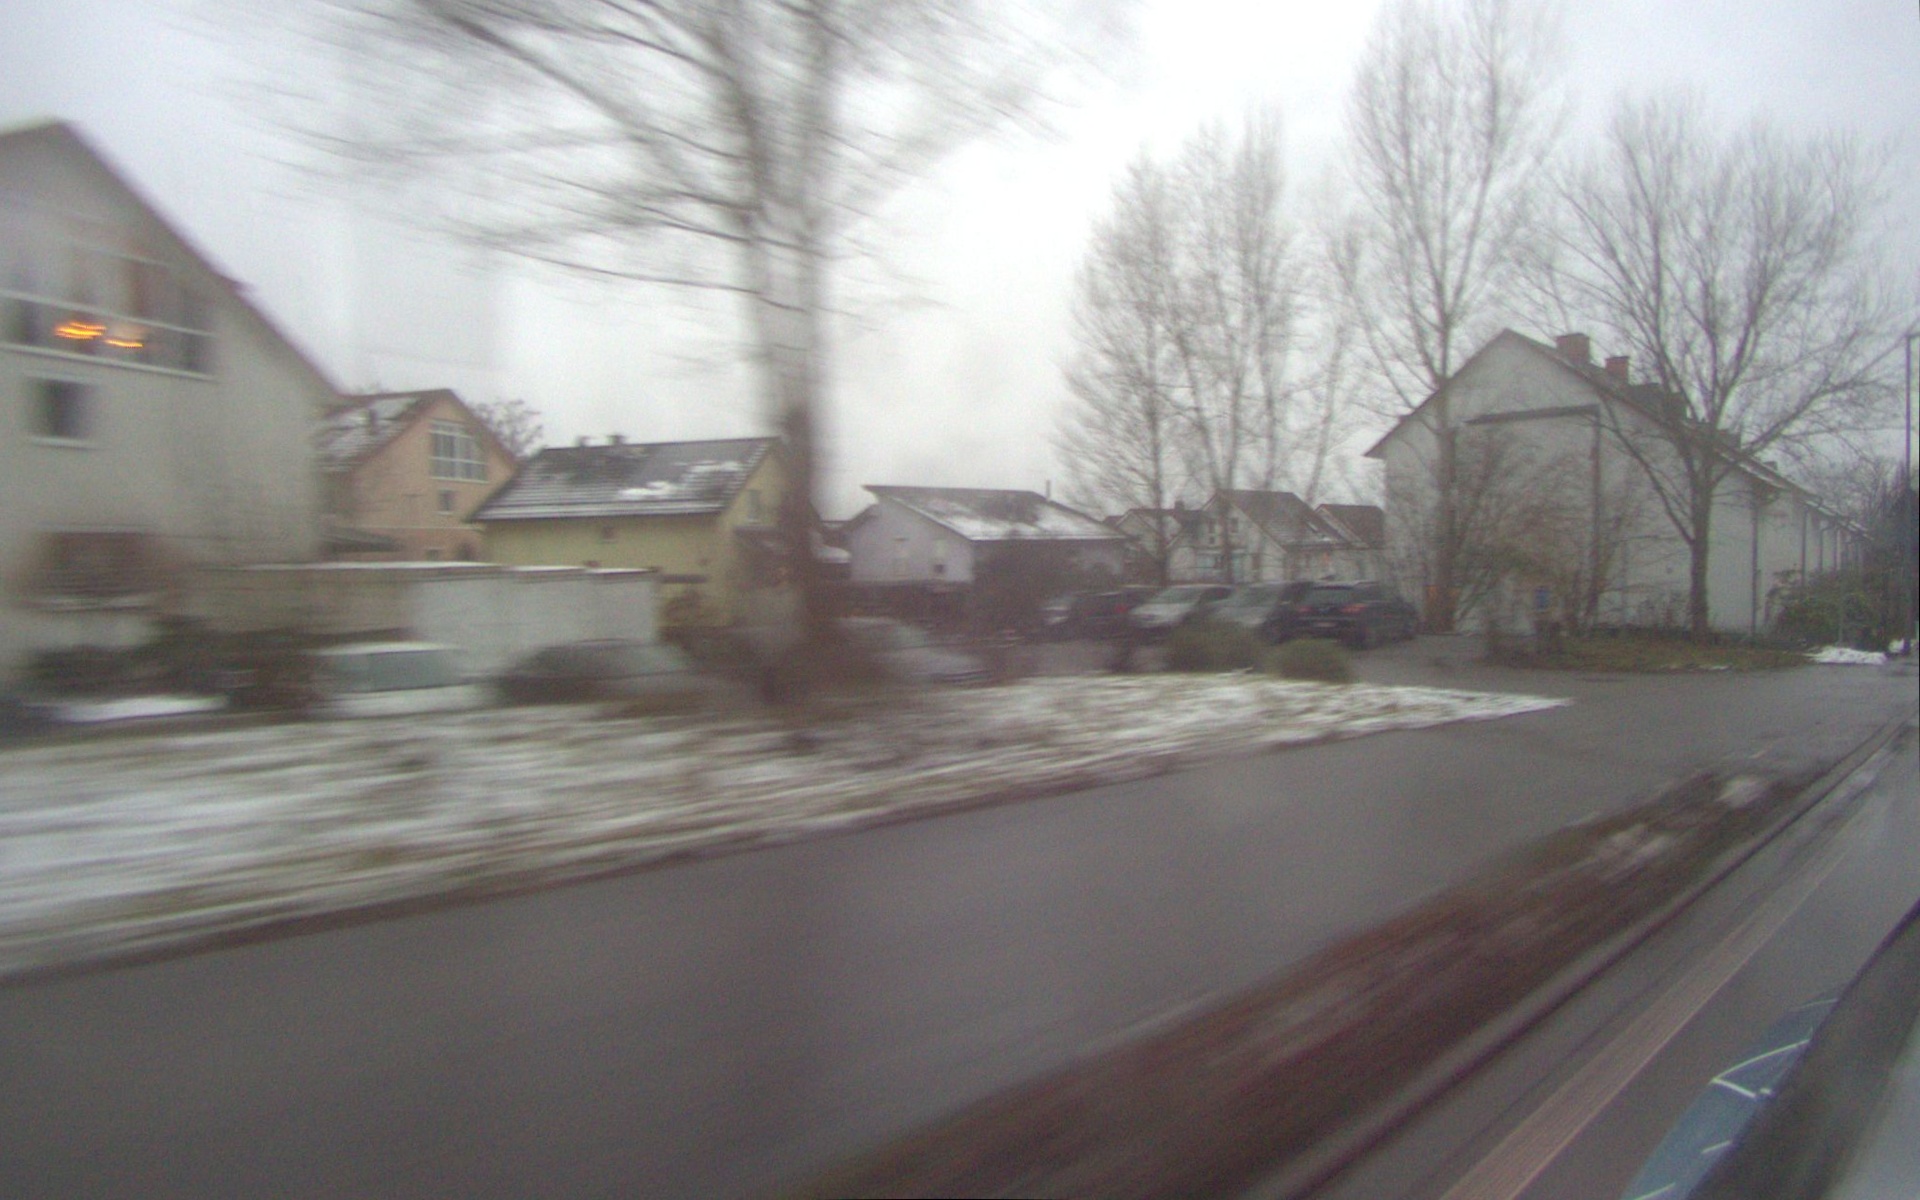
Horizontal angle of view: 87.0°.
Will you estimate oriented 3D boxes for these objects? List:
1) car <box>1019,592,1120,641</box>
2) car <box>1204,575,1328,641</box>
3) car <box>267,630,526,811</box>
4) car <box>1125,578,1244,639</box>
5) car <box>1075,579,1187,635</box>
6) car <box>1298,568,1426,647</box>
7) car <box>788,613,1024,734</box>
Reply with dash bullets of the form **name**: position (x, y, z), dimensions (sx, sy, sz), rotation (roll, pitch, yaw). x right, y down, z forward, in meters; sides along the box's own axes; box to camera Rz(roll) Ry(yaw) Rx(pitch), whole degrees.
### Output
- **car**: position (3.666, 0.500, 33.515), dimensions (3.345, 1.293, 1.470), rotation (-6, 5, -43)
- **car**: position (8.488, 0.159, 27.964), dimensions (3.679, 1.490, 1.640), rotation (-6, 5, -43)
- **car**: position (-6.853, 1.270, 12.137), dimensions (1.774, 1.617, 3.784), rotation (0, 1, -45)
- **car**: position (6.686, 0.198, 29.939), dimensions (3.679, 1.490, 1.640), rotation (-6, 5, -43)
- **car**: position (5.557, 0.174, 32.587), dimensions (3.679, 1.490, 1.640), rotation (-6, 5, -43)
- **car**: position (10.426, 0.117, 26.153), dimensions (3.679, 1.703, 1.640), rotation (-6, 5, -43)
- **car**: position (-0.961, 1.078, 16.461), dimensions (1.774, 1.617, 3.784), rotation (0, 1, -45)
